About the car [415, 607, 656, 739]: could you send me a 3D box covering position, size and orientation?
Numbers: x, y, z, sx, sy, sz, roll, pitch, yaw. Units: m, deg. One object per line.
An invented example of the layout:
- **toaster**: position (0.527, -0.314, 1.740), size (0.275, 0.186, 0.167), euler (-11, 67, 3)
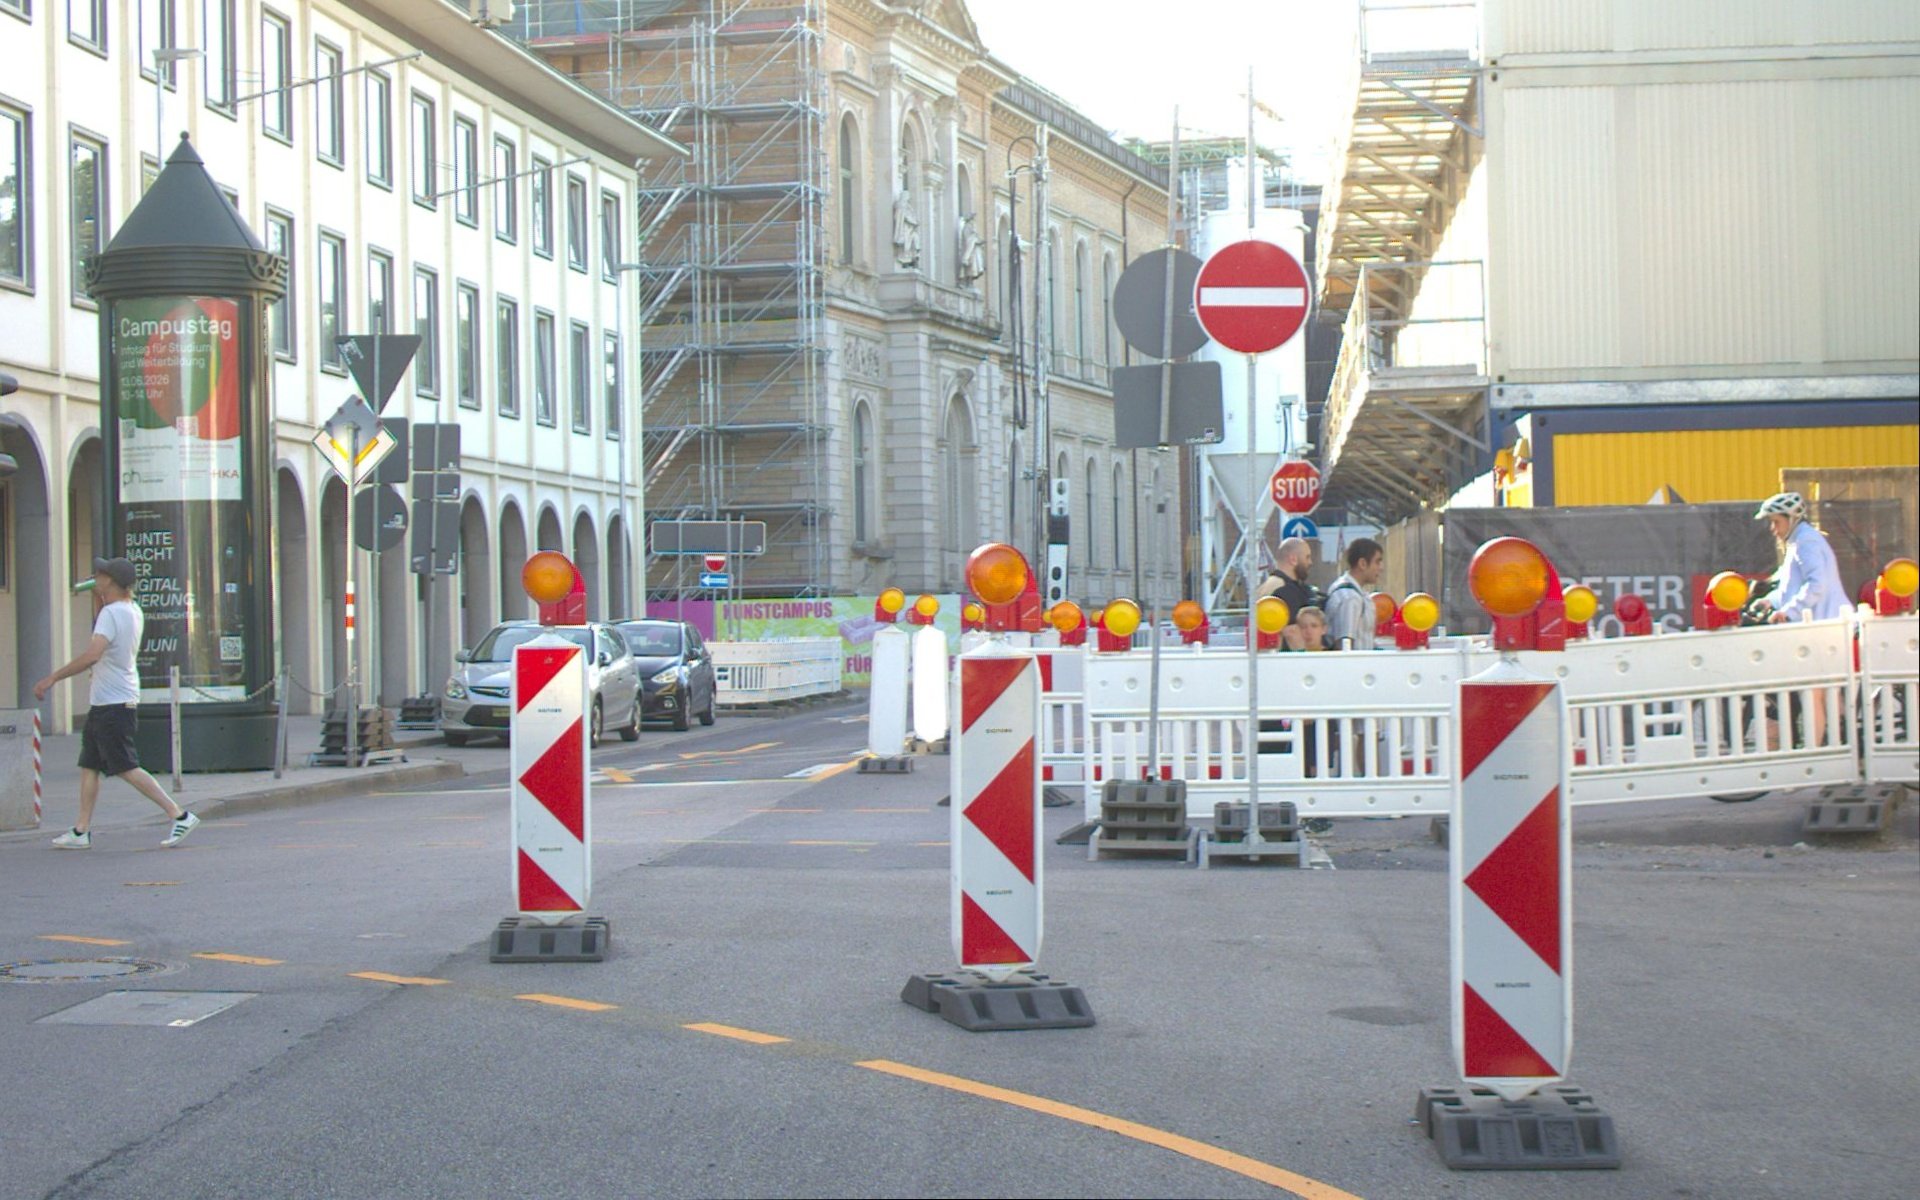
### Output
- **car**: position (-4.952, 0.879, 40.644), size (1.925, 1.461, 3.998), euler (1, -2, 7)

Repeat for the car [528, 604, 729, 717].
- **car**: position (-4.490, 0.850, 47.111), size (1.925, 1.461, 3.998), euler (1, -2, 7)

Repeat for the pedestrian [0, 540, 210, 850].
- **pedestrian**: position (-4.964, 0.543, 19.917), size (0.974, 1.723, 0.798), euler (-2, -1, 3)

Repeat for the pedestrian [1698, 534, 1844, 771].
- **pedestrian**: position (5.153, 0.326, 21.865), size (0.768, 1.457, 0.666), euler (-2, 0, 6)

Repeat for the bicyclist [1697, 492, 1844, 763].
- **bicyclist**: position (4.611, 0.153, 19.596), size (0.702, 1.511, 0.686), euler (-1, 0, 4)

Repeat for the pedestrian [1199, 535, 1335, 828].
- **pedestrian**: position (1.853, 0.483, 20.730), size (0.737, 1.710, 0.621), euler (-2, 0, 6)

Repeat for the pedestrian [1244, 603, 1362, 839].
- **pedestrian**: position (1.938, 0.676, 19.457), size (0.618, 1.295, 0.493), euler (2, 1, 5)

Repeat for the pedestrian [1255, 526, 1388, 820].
- **pedestrian**: position (2.238, 0.444, 21.289), size (0.737, 1.765, 0.621), euler (-2, 0, 6)

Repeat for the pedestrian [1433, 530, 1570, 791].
- **pedestrian**: position (3.447, 0.377, 21.935), size (0.768, 1.613, 0.666), euler (-2, 0, 6)

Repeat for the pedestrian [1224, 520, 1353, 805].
- **pedestrian**: position (2.106, 0.392, 22.021), size (0.737, 1.765, 0.723), euler (-2, 0, 6)

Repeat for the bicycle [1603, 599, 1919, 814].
- **bicycle**: position (4.701, 0.601, 19.592), size (1.993, 1.197, 0.477), euler (-1, 0, 5)
